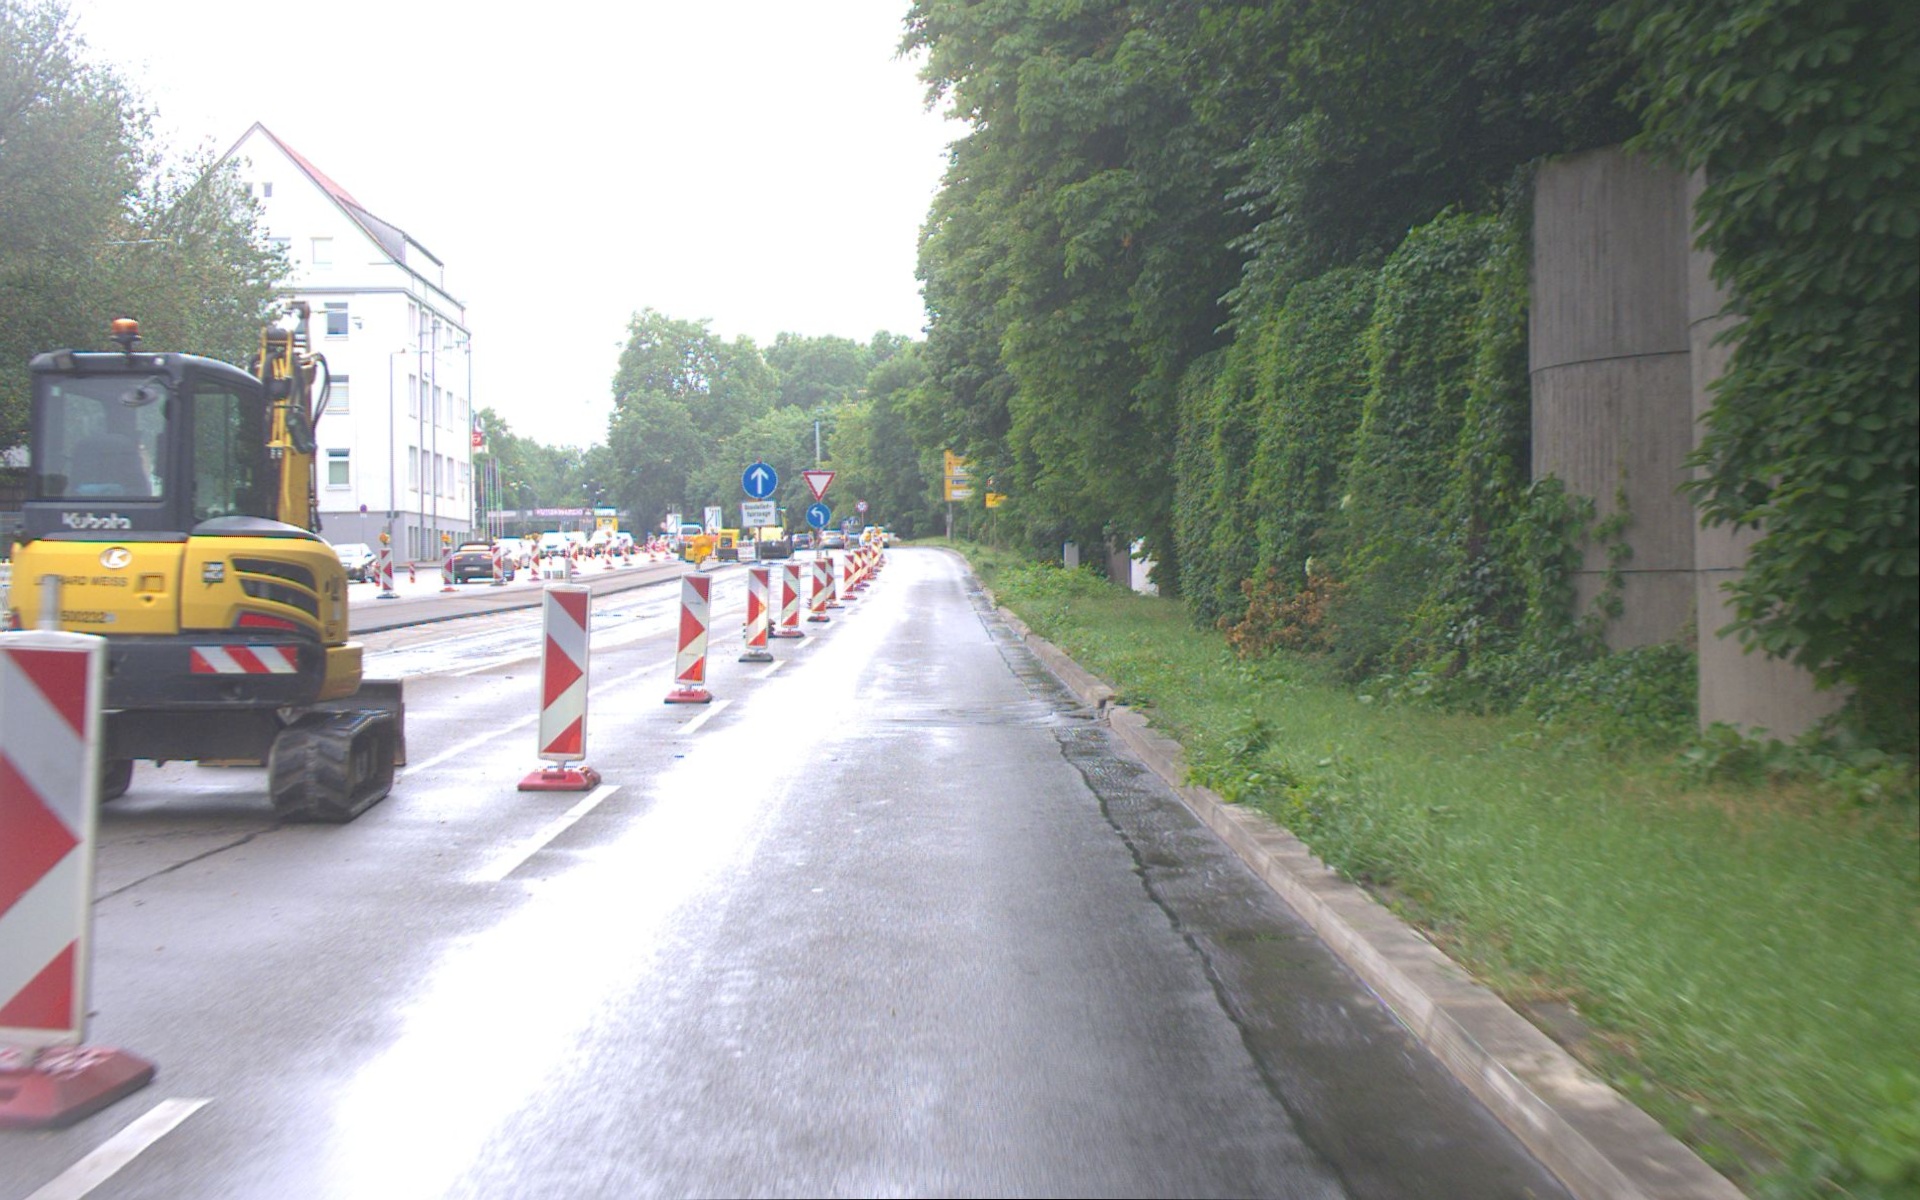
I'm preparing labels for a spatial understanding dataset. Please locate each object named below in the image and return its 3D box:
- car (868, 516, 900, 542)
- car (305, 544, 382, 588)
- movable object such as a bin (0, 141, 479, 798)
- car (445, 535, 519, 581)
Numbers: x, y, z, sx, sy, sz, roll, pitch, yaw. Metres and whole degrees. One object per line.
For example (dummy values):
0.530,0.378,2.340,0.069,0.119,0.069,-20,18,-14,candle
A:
-5.064,-4.742,229.463,1.993,1.667,4.000,1,1,0,car
-22.589,-1.262,126.100,1.993,1.581,4.619,0,1,0,car
-4.307,-0.706,20.641,1.993,3.356,5.982,1,1,0,movable object such as a bin
-16.223,-1.421,116.808,1.993,1.514,4.000,1,1,-1,car
